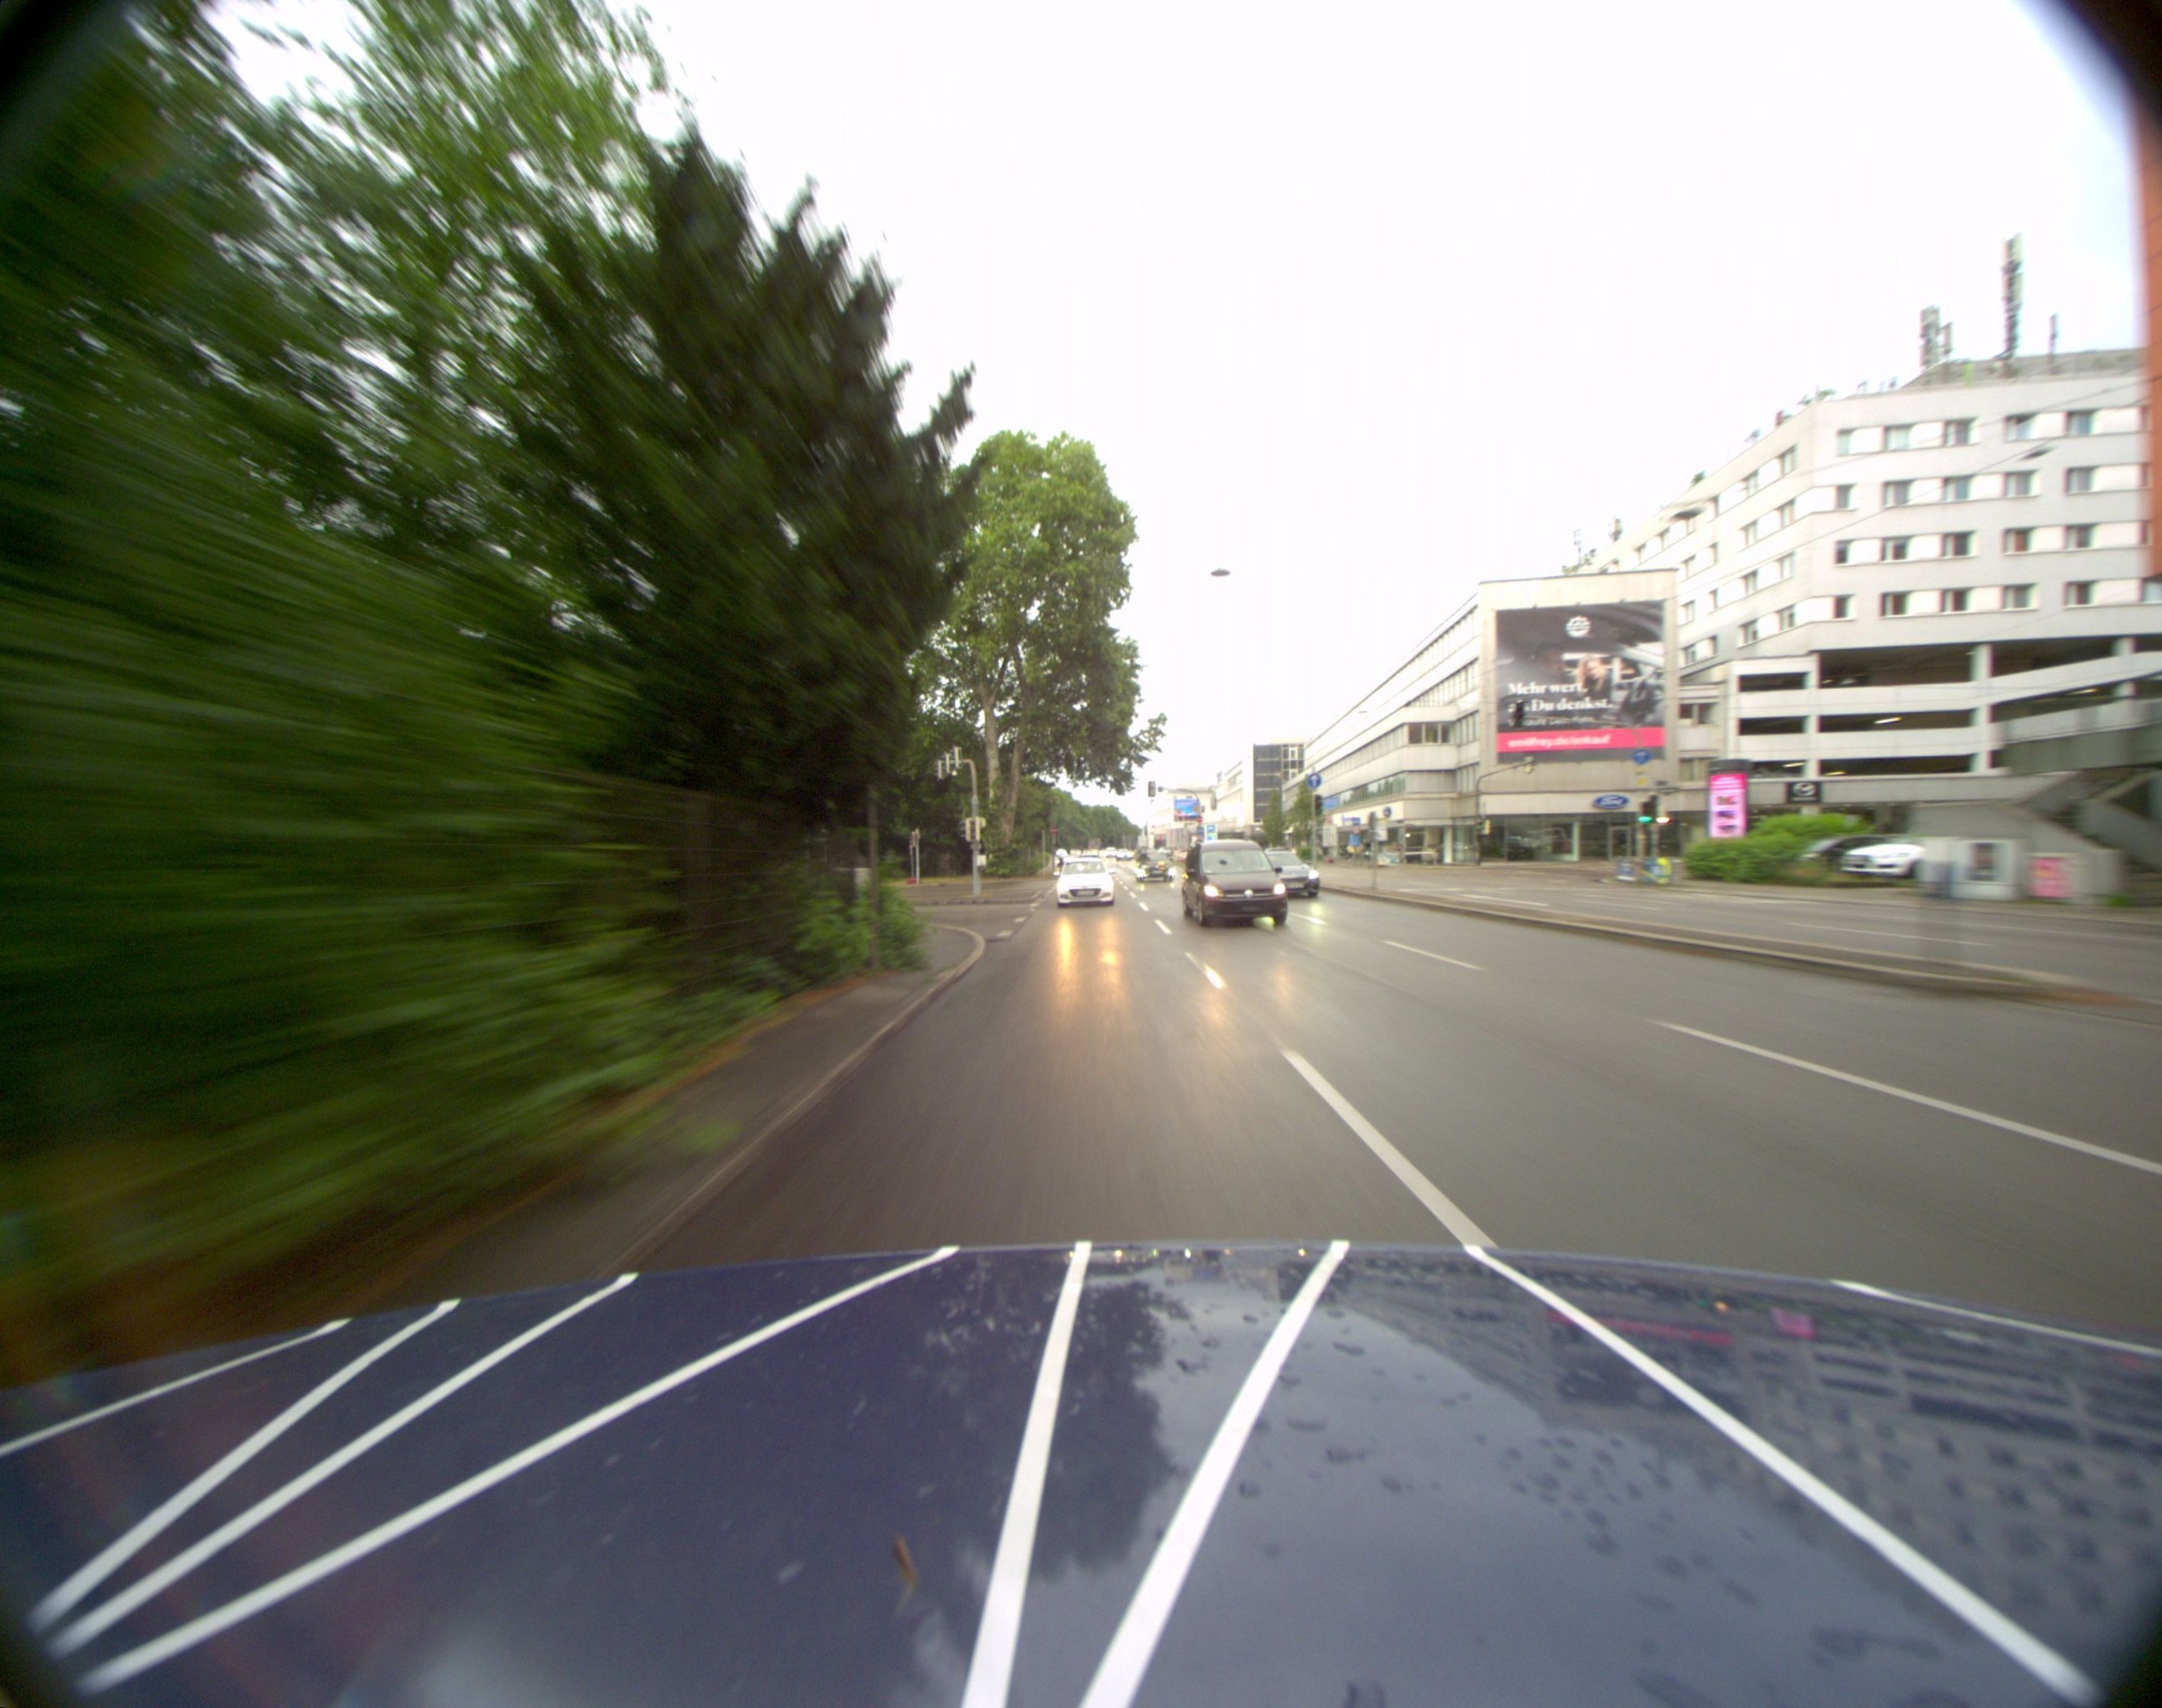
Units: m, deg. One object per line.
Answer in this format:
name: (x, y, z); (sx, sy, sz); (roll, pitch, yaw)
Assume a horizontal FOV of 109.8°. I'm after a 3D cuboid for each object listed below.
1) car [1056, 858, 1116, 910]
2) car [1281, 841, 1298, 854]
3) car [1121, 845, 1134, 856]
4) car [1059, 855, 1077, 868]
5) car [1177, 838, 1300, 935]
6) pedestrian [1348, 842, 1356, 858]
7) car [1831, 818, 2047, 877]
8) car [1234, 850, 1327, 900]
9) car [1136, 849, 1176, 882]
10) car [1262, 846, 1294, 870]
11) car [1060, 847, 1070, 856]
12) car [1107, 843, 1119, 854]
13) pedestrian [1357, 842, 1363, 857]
car: (0.166, 0.896, 24.371); (1.731, 1.431, 4.000); (-2, 1, 1)
car: (29.522, -0.917, 107.468); (1.883, 1.856, 4.002); (-2, 0, 10)
car: (6.507, -0.488, 106.155); (1.730, 1.502, 3.732); (-2, 1, 6)
car: (-1.530, 0.862, 91.817); (1.730, 1.502, 3.732); (-2, 1, 4)
car: (3.285, 0.625, 16.638); (1.842, 1.780, 4.000); (-3, 0, 1)
pedestrian: (26.458, -0.423, 74.251); (0.575, 1.522, 0.454); (-2, 1, 6)
car: (26.783, -0.184, 23.862); (4.301, 1.616, 1.936); (-2, 1, 6)
car: (6.391, 0.666, 24.845); (1.670, 1.406, 4.539); (-2, -1, -2)
car: (3.957, 0.557, 40.692); (1.731, 1.604, 4.000); (-2, 1, 1)
car: (12.631, 0.216, 48.835); (1.524, 1.469, 2.771); (-2, 1, 4)
car: (-3.463, -0.470, 162.780); (1.878, 1.762, 3.999); (-3, 1, 2)
car: (5.593, -0.925, 132.762); (1.878, 1.762, 3.999); (-3, 1, 2)
pedestrian: (27.234, -0.446, 74.156); (0.437, 1.522, 0.513); (-2, 1, 6)
